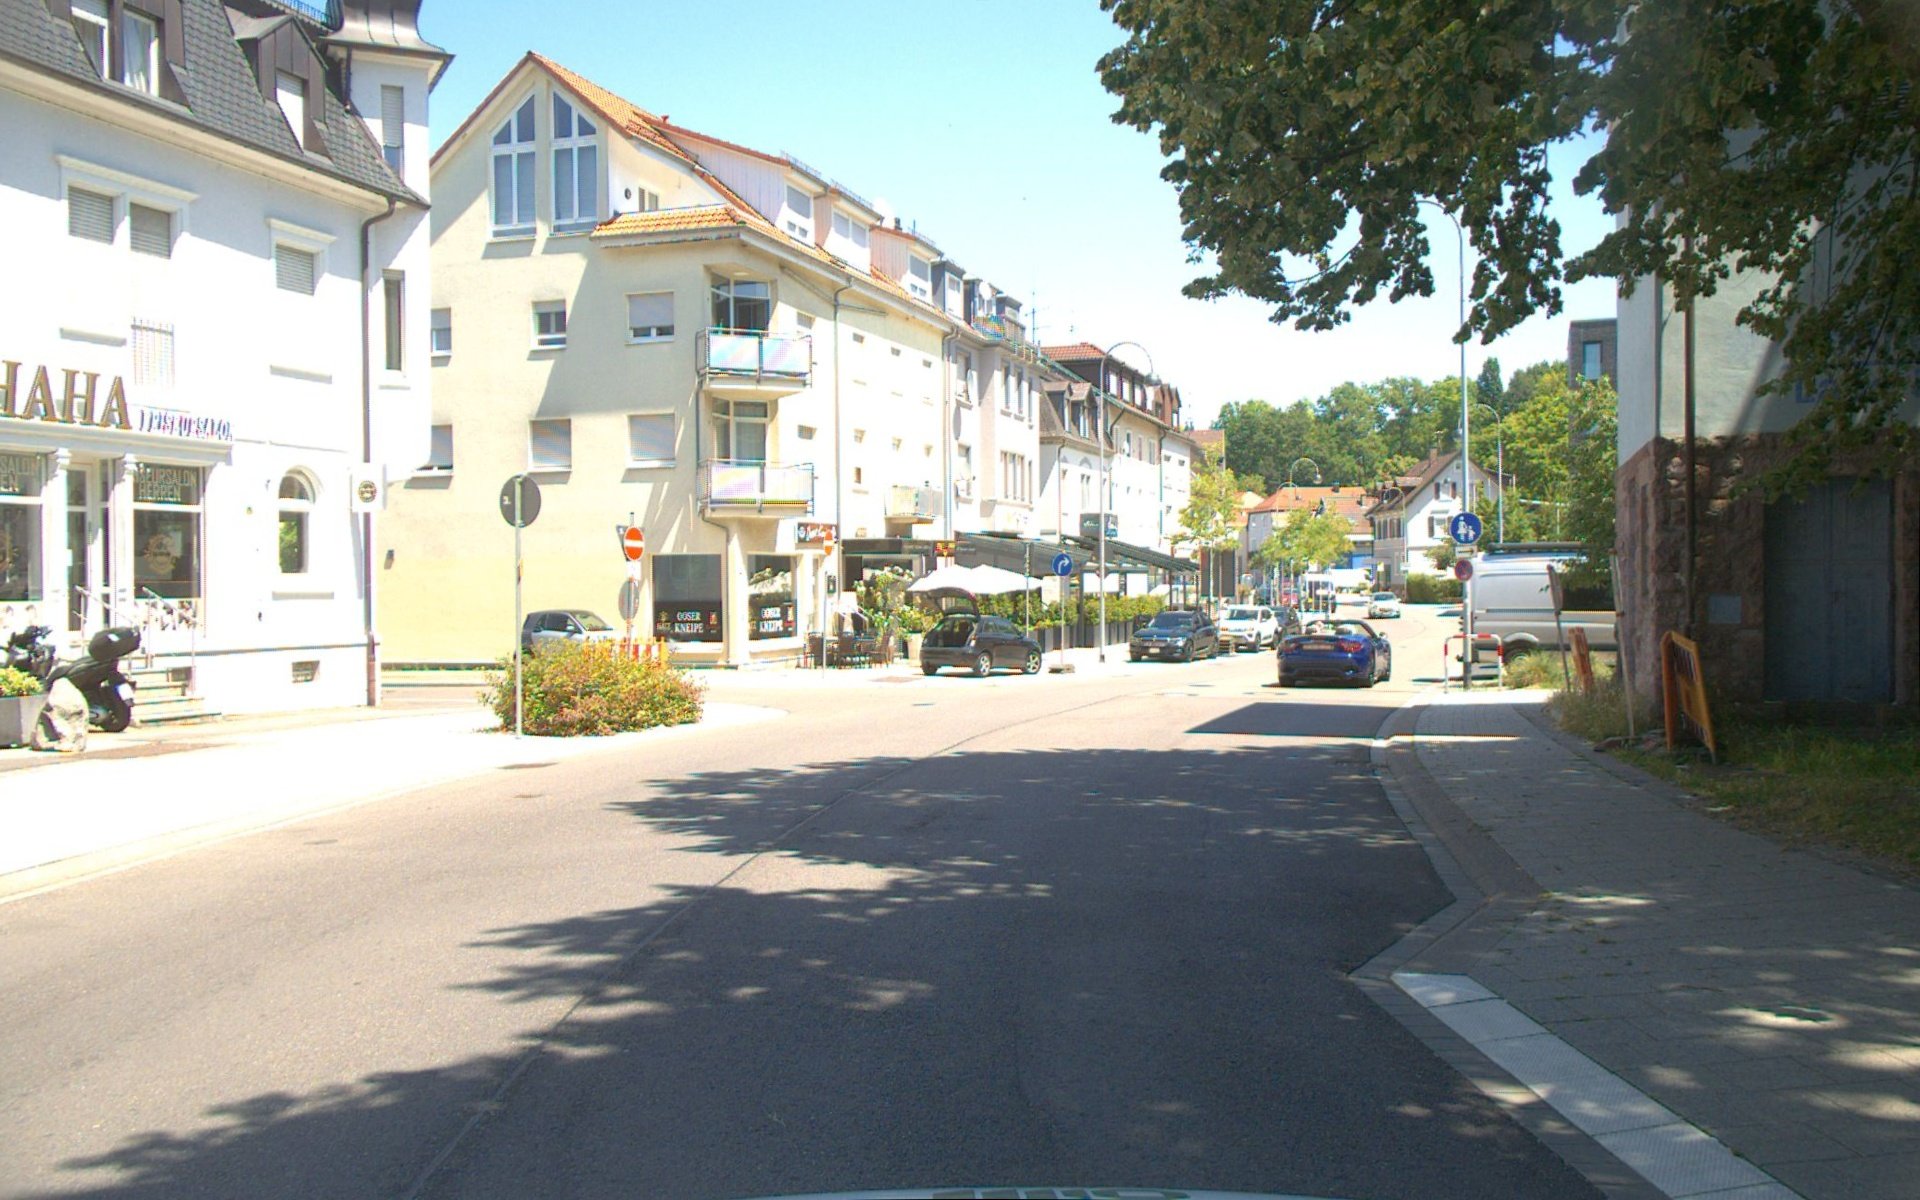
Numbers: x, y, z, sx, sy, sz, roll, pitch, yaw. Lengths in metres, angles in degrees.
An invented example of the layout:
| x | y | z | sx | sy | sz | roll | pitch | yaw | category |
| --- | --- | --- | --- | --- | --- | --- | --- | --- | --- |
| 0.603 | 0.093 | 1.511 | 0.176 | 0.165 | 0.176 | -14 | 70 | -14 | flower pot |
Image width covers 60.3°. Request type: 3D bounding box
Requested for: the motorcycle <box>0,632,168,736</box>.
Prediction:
| x | y | z | sx | sy | sz | roll | pitch | yaw | category |
| --- | --- | --- | --- | --- | --- | --- | --- | --- | --- |
| -11.097 | 1.022 | 20.548 | 2.344 | 1.239 | 0.834 | -1 | -1 | 18 | motorcycle |

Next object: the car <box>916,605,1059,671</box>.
| x | y | z | sx | sy | sz | roll | pitch | yaw | category |
| --- | --- | --- | --- | --- | --- | --- | --- | --- | --- |
| 0.730 | 0.889 | 40.264 | 1.681 | 1.486 | 4.121 | 2 | 0 | 30 | car |

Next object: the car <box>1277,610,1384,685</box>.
| x | y | z | sx | sy | sz | roll | pitch | yaw | category |
| --- | --- | --- | --- | --- | --- | --- | --- | --- | --- |
| 7.744 | 0.925 | 34.310 | 1.831 | 1.365 | 4.599 | 1 | 1 | 17 | car |

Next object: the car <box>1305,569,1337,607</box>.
| x | y | z | sx | sy | sz | roll | pitch | yaw | category |
| --- | --- | --- | --- | --- | --- | --- | --- | --- | --- |
| 24.210 | -0.814 | 111.079 | 1.827 | 2.442 | 4.822 | -1 | 0 | 9 | car |

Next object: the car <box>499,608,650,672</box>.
| x | y | z | sx | sy | sz | roll | pitch | yaw | category |
| --- | --- | --- | --- | --- | --- | --- | --- | --- | --- |
| -9.458 | 0.984 | 40.655 | 3.193 | 1.484 | 1.693 | -1 | 1 | 16 | car |

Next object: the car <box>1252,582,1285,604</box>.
| x | y | z | sx | sy | sz | roll | pitch | yaw | category |
| --- | --- | --- | --- | --- | --- | --- | --- | --- | --- |
| 24.728 | -0.589 | 132.762 | 1.952 | 1.722 | 4.001 | 0 | 1 | 1 | car |

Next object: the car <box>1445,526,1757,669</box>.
| x | y | z | sx | sy | sz | roll | pitch | yaw | category |
| --- | --- | --- | --- | --- | --- | --- | --- | --- | --- |
| 13.198 | -0.022 | 34.367 | 5.817 | 2.780 | 2.196 | -1 | 0 | 21 | car |

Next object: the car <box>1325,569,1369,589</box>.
| x | y | z | sx | sy | sz | roll | pitch | yaw | category |
| --- | --- | --- | --- | --- | --- | --- | --- | --- | --- |
| 41.252 | -2.211 | 176.330 | 4.201 | 2.049 | 1.985 | 1 | -2 | -24 | car |

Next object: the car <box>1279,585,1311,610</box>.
| x | y | z | sx | sy | sz | roll | pitch | yaw | category |
| --- | --- | --- | --- | --- | --- | --- | --- | --- | --- |
| 24.348 | -0.180 | 120.354 | 1.951 | 1.769 | 4.003 | -1 | 0 | 7 | car |

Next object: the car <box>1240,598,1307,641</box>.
| x | y | z | sx | sy | sz | roll | pitch | yaw | category |
| --- | --- | --- | --- | --- | --- | --- | --- | --- | --- |
| 11.704 | 0.698 | 61.666 | 1.636 | 1.469 | 4.009 | -1 | 1 | 23 | car |

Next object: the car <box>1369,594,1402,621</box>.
| x | y | z | sx | sy | sz | roll | pitch | yaw | category |
| --- | --- | --- | --- | --- | --- | --- | --- | --- | --- |
| 24.889 | 0.421 | 96.727 | 1.651 | 1.484 | 4.061 | -3 | 0 | 16 | car |

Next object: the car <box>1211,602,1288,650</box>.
| x | y | z | sx | sy | sz | roll | pitch | yaw | category |
| --- | --- | --- | --- | --- | --- | --- | --- | --- | --- |
| 9.941 | 0.861 | 56.593 | 1.612 | 1.505 | 3.938 | 1 | 1 | 25 | car |

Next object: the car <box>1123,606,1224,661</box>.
| x | y | z | sx | sy | sz | roll | pitch | yaw | category |
| --- | --- | --- | --- | --- | --- | --- | --- | --- | --- |
| 6.460 | 0.959 | 49.671 | 1.797 | 1.454 | 4.782 | 1 | 1 | 23 | car |
